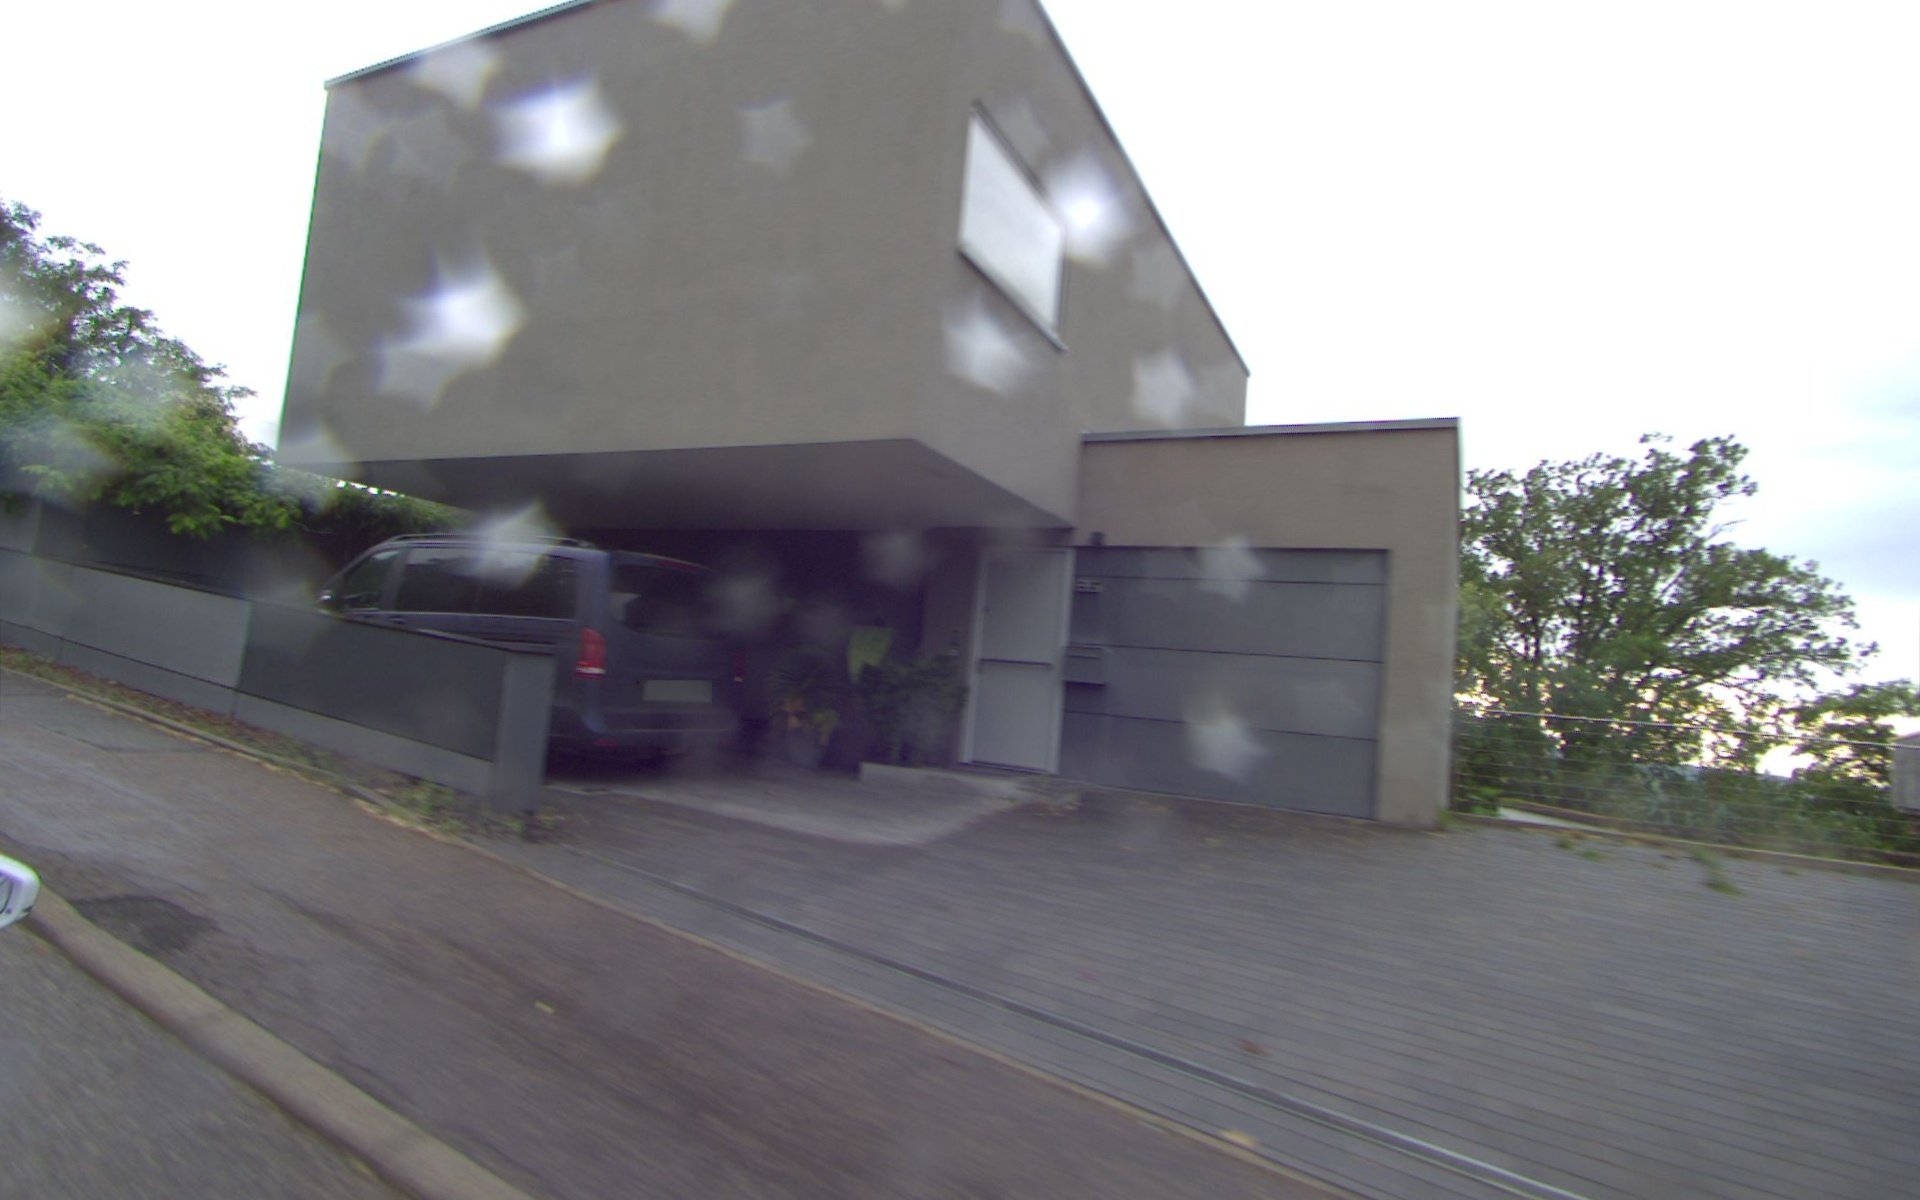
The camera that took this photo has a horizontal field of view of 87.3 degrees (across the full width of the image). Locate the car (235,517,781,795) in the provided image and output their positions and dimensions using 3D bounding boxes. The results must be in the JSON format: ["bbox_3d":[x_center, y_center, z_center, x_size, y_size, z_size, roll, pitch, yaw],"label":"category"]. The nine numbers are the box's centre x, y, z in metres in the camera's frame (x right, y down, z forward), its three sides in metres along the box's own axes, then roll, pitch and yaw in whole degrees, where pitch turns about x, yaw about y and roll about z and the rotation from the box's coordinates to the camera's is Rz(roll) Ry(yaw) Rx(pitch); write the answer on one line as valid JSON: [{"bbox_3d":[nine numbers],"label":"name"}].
[{"bbox_3d":[-4.223,0.406,9.280,4.692,1.962,1.999,3,-3,28],"label":"car"}]
